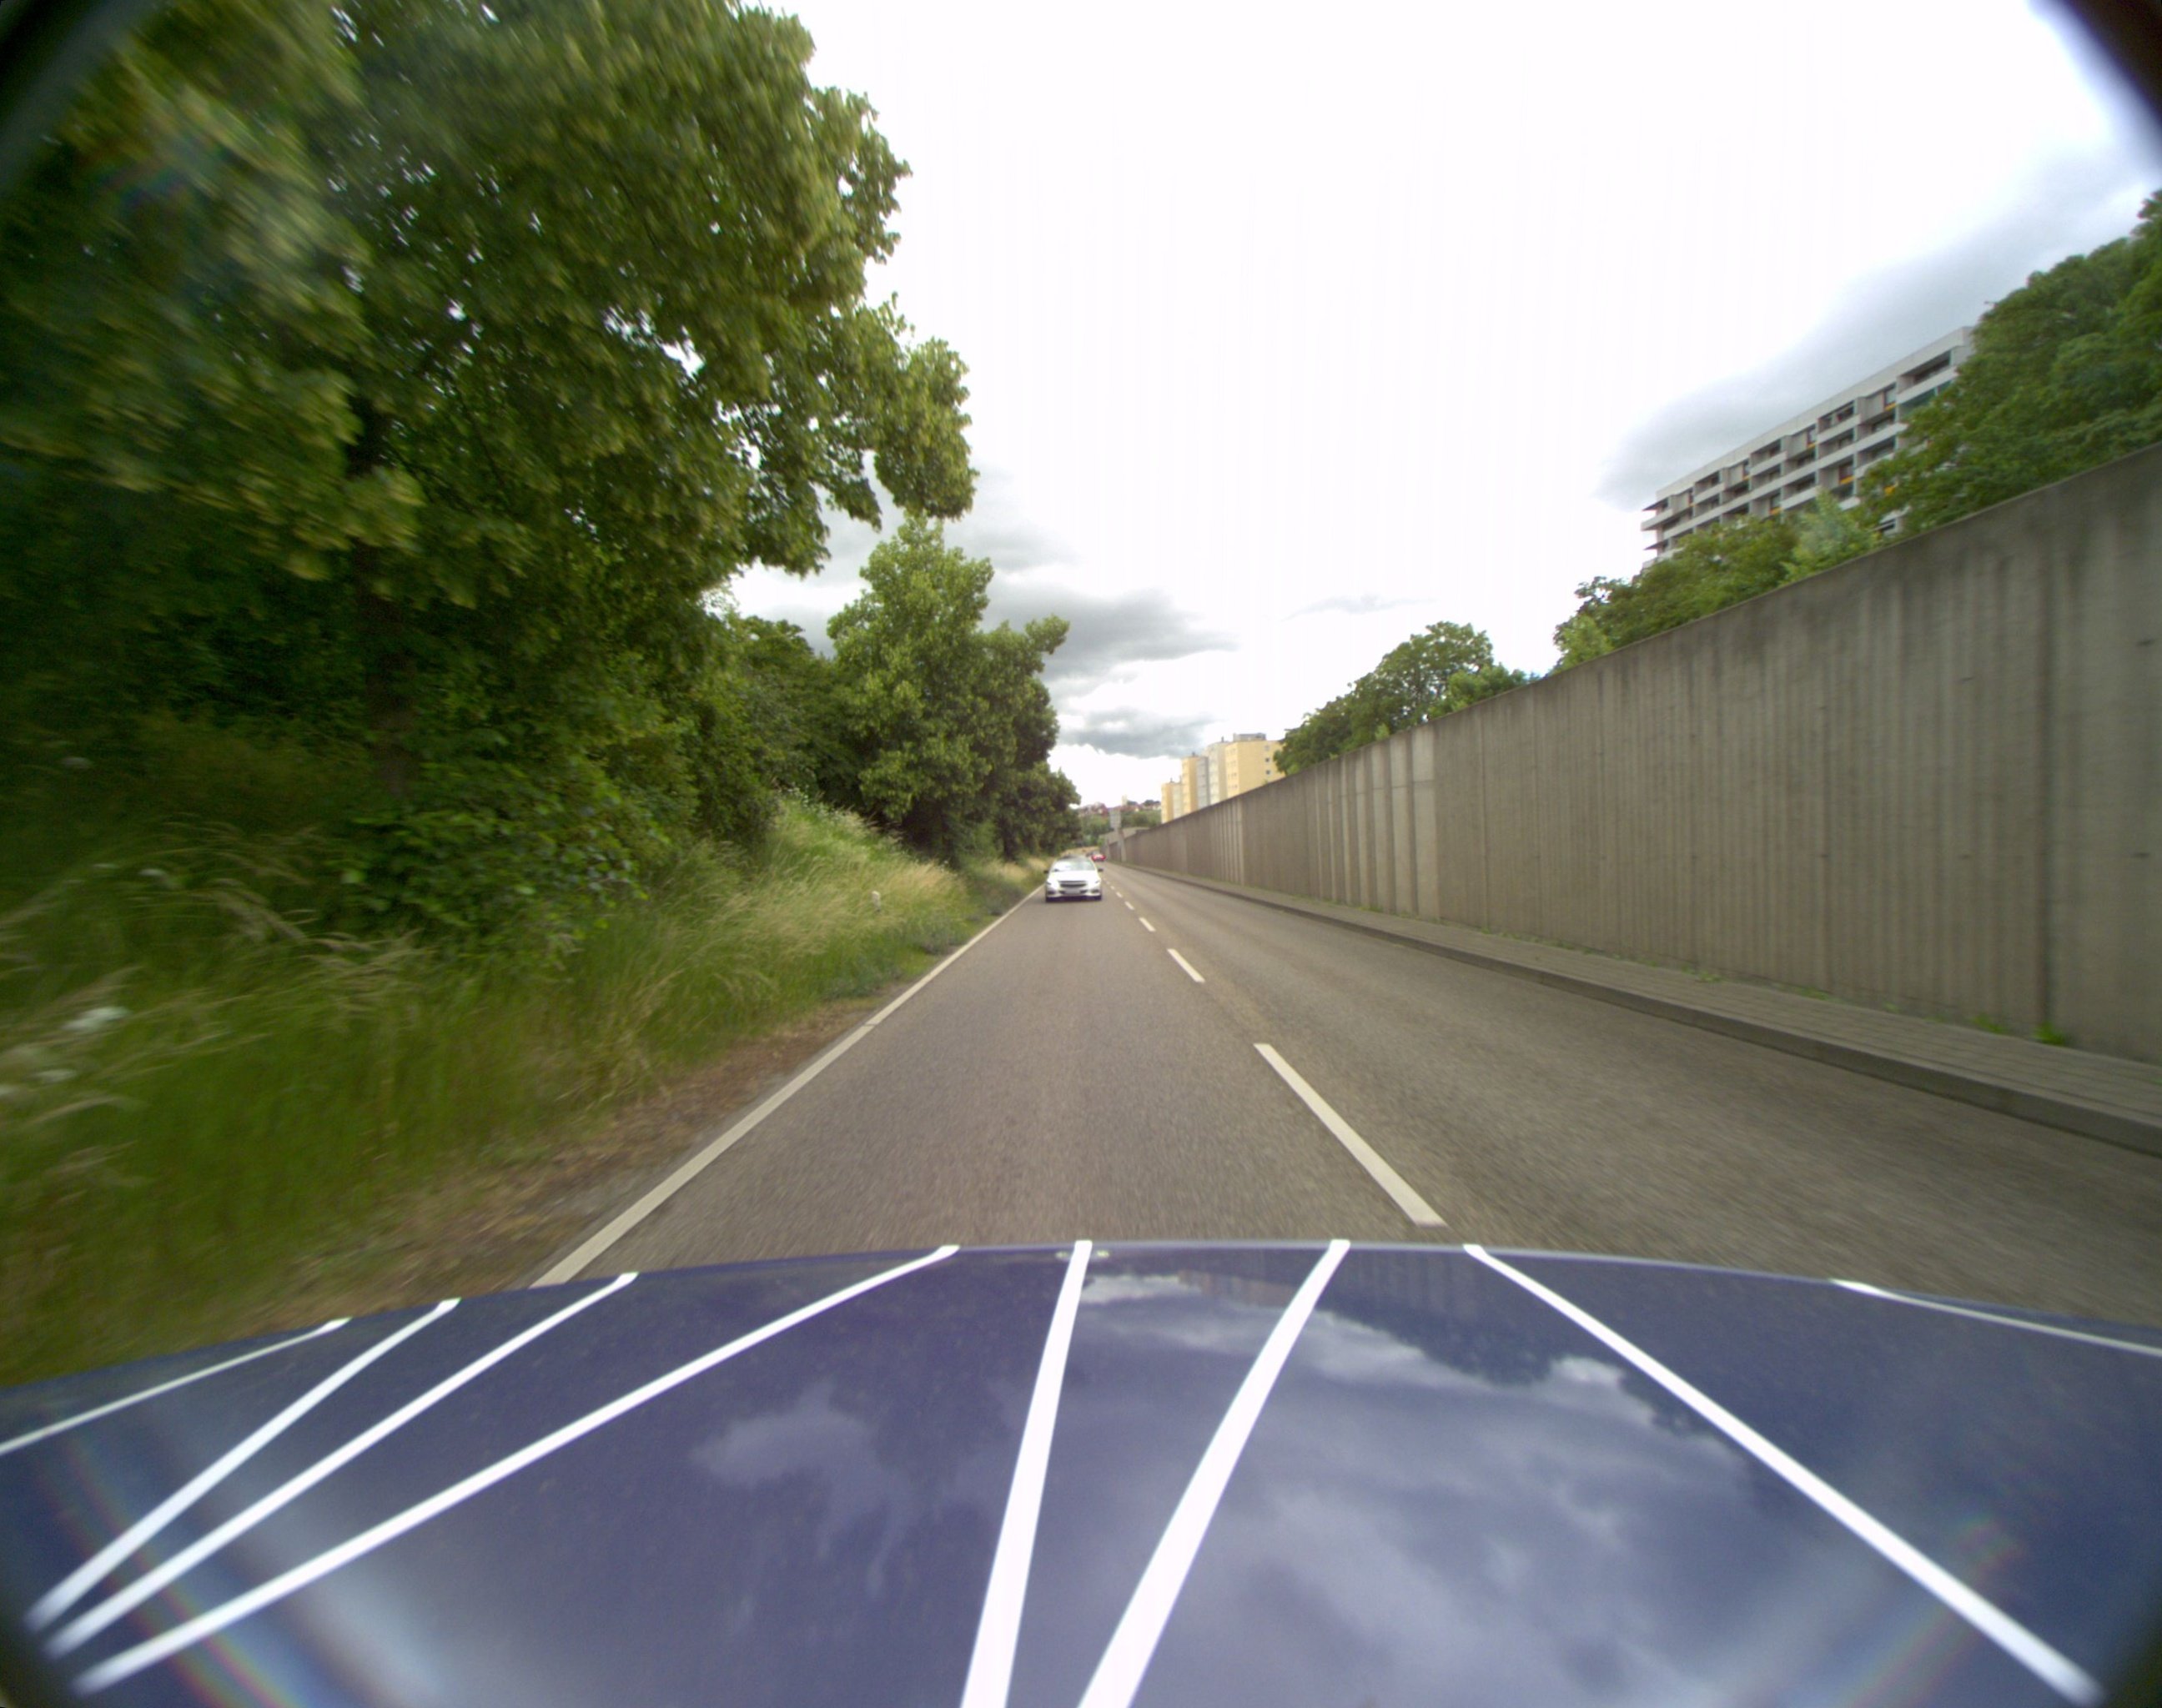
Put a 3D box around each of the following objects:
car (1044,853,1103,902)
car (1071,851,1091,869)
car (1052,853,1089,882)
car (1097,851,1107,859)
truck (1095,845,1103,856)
[{"bbox_3d":[-0.231,0.747,26.524,1.842,1.499,4.160,-2,0,0],"label":"car"},{"bbox_3d":[0.053,0.600,79.158,1.998,1.745,4.000,-2,0,1],"label":"car"},{"bbox_3d":[-0.548,0.707,42.331,1.878,1.459,3.999,-2,1,0],"label":"car"},{"bbox_3d":[3.858,0.124,141.227,1.639,1.478,3.493,-2,0,0],"label":"car"},{"bbox_3d":[4.011,-0.810,171.381,1.593,2.210,3.999,-2,1,1],"label":"truck"}]
